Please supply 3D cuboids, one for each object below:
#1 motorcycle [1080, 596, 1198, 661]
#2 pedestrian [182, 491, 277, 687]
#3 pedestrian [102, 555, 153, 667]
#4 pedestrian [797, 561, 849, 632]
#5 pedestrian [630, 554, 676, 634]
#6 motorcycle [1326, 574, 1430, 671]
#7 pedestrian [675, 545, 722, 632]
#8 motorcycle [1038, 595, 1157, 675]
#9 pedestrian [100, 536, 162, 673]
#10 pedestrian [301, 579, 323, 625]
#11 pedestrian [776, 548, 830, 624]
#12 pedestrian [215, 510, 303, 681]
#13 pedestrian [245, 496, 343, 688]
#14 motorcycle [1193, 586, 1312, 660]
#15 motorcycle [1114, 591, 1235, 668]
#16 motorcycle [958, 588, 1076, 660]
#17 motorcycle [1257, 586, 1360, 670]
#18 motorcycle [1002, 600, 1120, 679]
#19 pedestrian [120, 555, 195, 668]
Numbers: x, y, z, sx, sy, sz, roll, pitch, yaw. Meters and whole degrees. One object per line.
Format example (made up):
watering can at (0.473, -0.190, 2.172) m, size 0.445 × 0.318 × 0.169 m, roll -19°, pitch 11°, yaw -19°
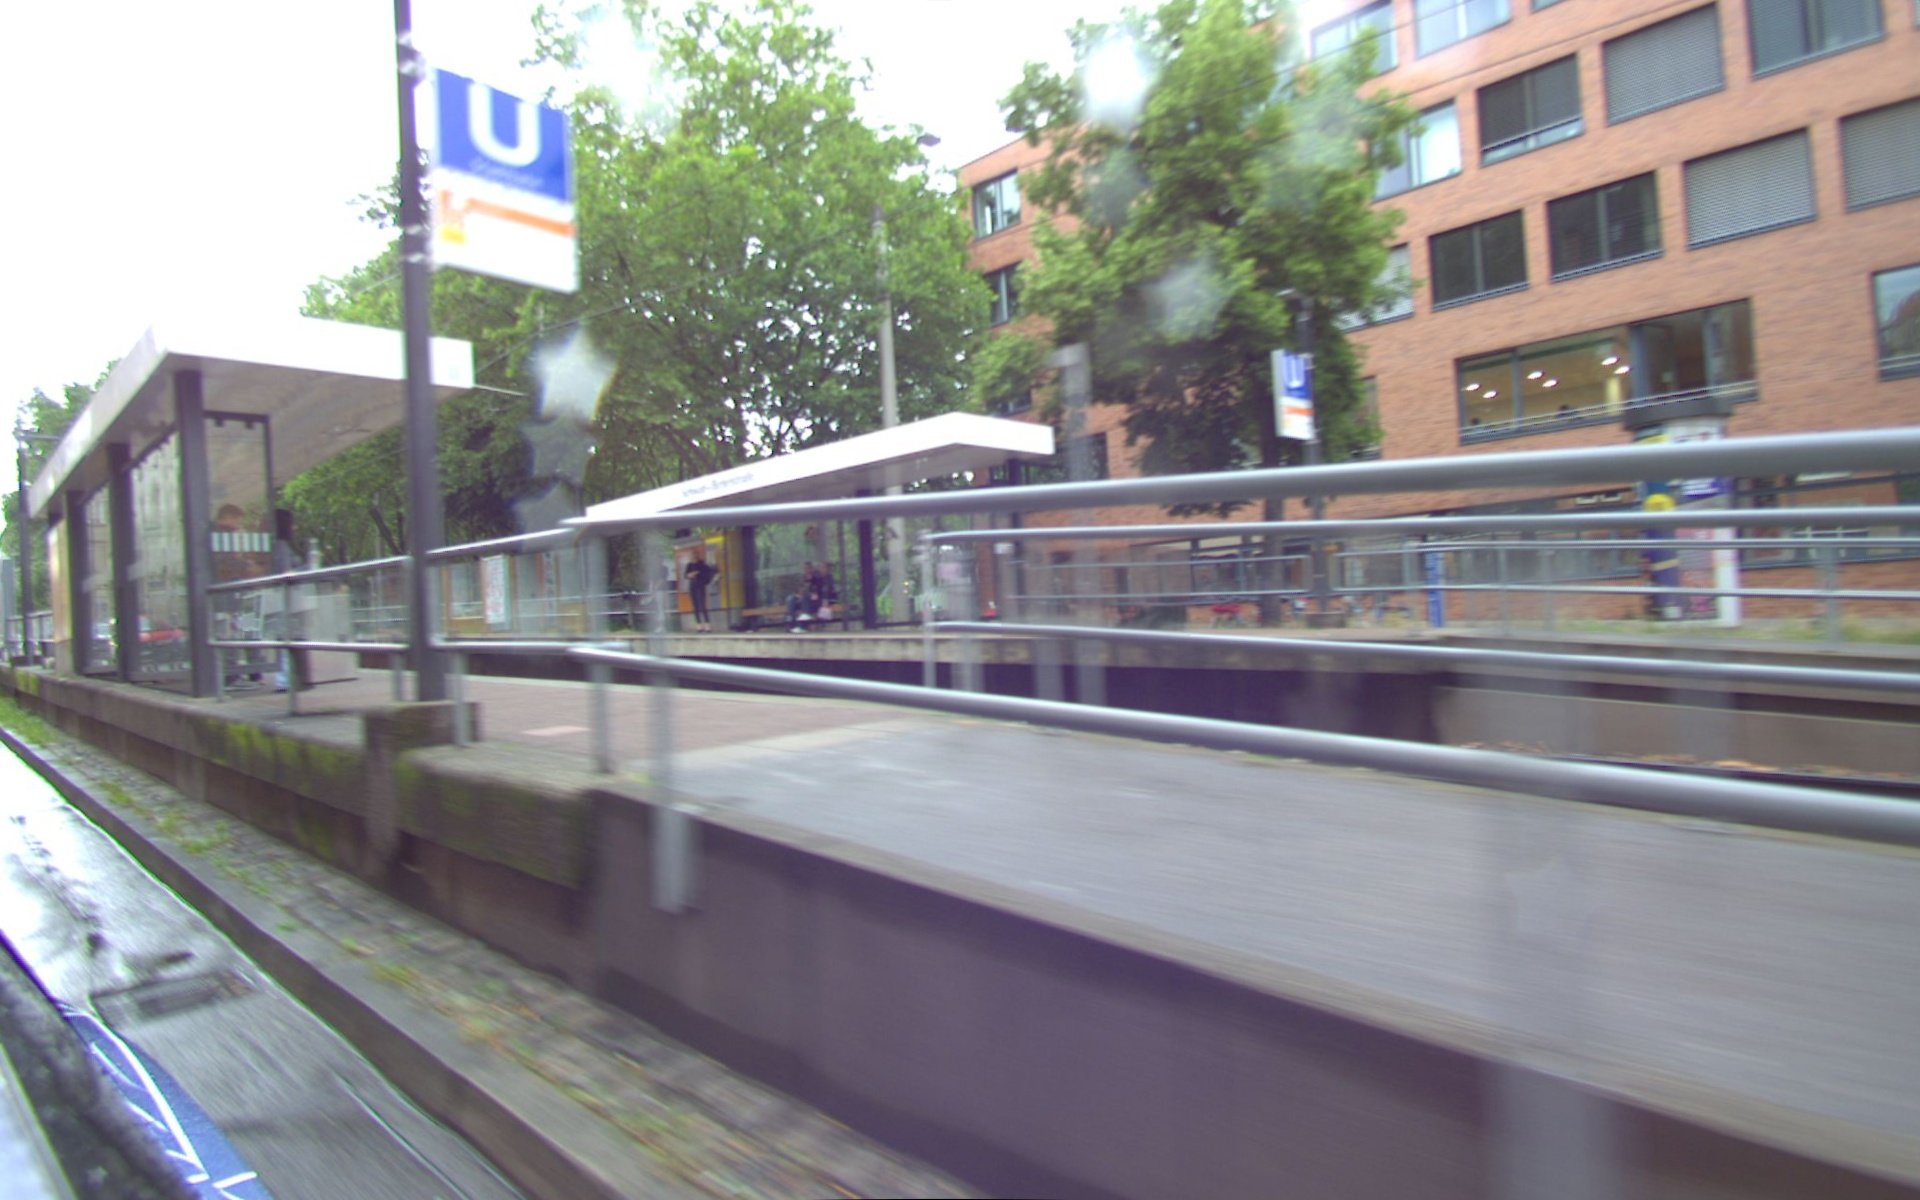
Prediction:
motorcycle at (4.445, 0.646, 24.770) m, size 1.006 × 1.417 × 3.824 m, roll -2°, pitch 0°, yaw 41°
pedestrian at (-6.665, -0.093, 9.234) m, size 0.606 × 1.701 × 0.587 m, roll -1°, pitch -1°, yaw -44°
pedestrian at (-12.344, 0.161, 15.019) m, size 0.489 × 1.617 × 0.639 m, roll -1°, pitch -1°, yaw -31°
pedestrian at (-2.492, -0.073, 18.399) m, size 0.564 × 1.249 × 0.696 m, roll -3°, pitch -1°, yaw 41°
pedestrian at (-6.563, -0.129, 21.637) m, size 0.564 × 1.653 × 0.679 m, roll -3°, pitch -1°, yaw 41°
motorcycle at (8.506, 0.403, 20.473) m, size 0.993 × 1.829 × 3.005 m, roll -2°, pitch 0°, yaw 41°
pedestrian at (-5.350, -0.237, 20.721) m, size 0.705 × 1.728 × 0.556 m, roll -3°, pitch -1°, yaw 41°
motorcycle at (3.533, 0.829, 25.588) m, size 1.006 × 1.829 × 3.824 m, roll -2°, pitch 0°, yaw 41°
pedestrian at (-9.978, 0.050, 12.191) m, size 0.499 × 1.601 × 0.529 m, roll -1°, pitch -1°, yaw -34°
pedestrian at (-23.769, 0.067, 37.109) m, size 0.555 × 1.653 × 0.689 m, roll -2°, pitch -1°, yaw -41°
pedestrian at (-2.922, -0.256, 18.890) m, size 0.564 × 1.373 × 0.769 m, roll -3°, pitch -1°, yaw 41°
pedestrian at (-6.825, -0.040, 9.855) m, size 0.606 × 1.593 × 0.507 m, roll -1°, pitch -1°, yaw -44°
pedestrian at (-5.788, -0.063, 8.794) m, size 0.606 × 1.593 × 0.507 m, roll -1°, pitch -1°, yaw -44°
motorcycle at (6.642, 0.465, 22.748) m, size 1.006 × 1.499 × 3.824 m, roll -2°, pitch 0°, yaw 41°
motorcycle at (5.079, 0.632, 23.687) m, size 1.006 × 1.617 × 3.824 m, roll -2°, pitch 0°, yaw 41°
motorcycle at (1.614, 0.593, 27.380) m, size 1.006 × 1.787 × 3.824 m, roll -2°, pitch 0°, yaw 41°
motorcycle at (7.537, 0.559, 21.777) m, size 1.006 × 1.640 × 3.026 m, roll -2°, pitch 0°, yaw 41°
motorcycle at (2.695, 0.978, 26.367) m, size 1.006 × 1.829 × 3.824 m, roll -2°, pitch 0°, yaw 41°
pedestrian at (-9.090, 0.130, 11.461) m, size 0.606 × 1.236 × 0.507 m, roll -1°, pitch -1°, yaw -44°
